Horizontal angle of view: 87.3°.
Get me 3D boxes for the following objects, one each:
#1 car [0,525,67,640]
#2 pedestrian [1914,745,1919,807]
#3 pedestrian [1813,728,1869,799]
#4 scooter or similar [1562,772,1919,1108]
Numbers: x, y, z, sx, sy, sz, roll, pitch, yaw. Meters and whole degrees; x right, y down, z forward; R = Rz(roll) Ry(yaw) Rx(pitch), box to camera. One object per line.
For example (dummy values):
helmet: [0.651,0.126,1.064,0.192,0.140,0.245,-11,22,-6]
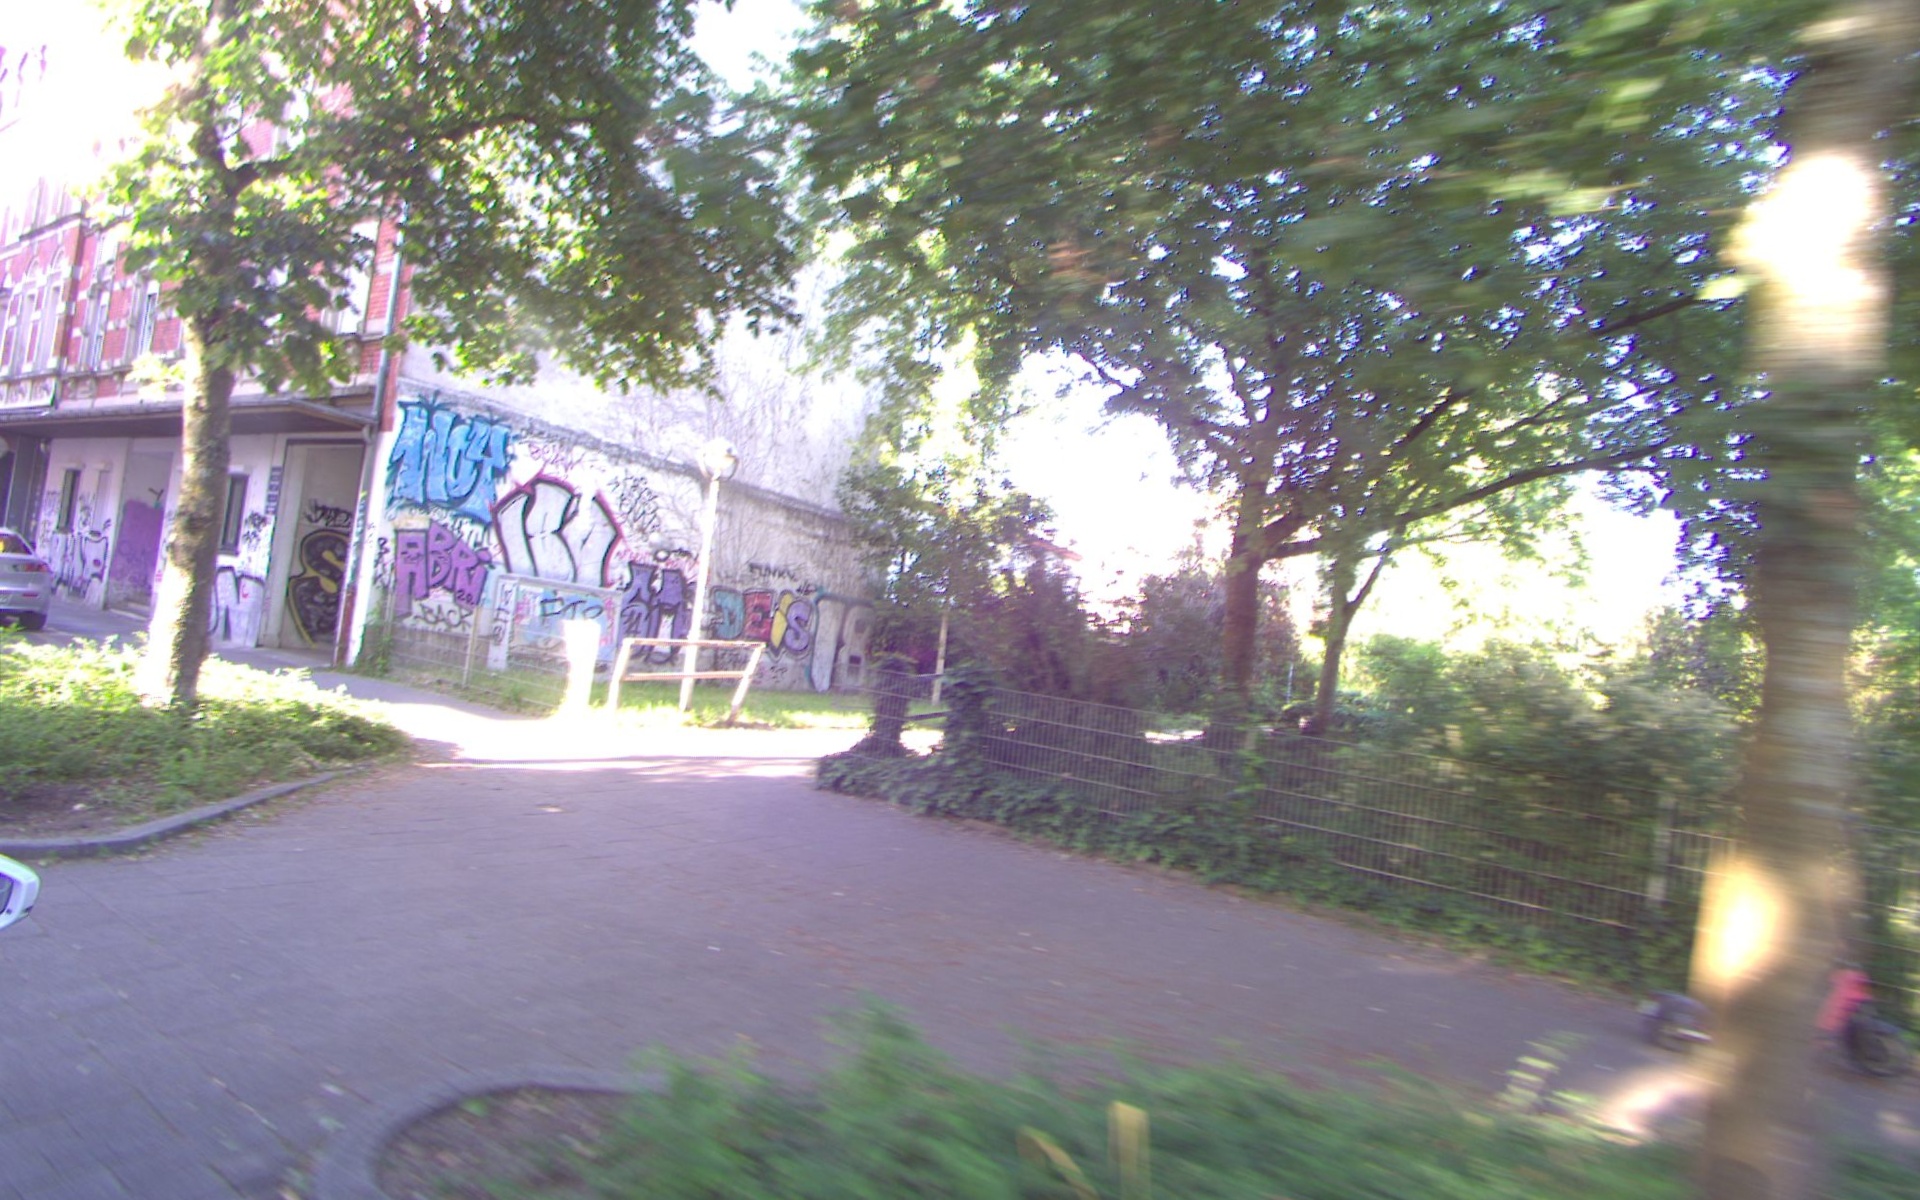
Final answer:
car: [-15.476,-0.457,15.224,4.327,1.579,1.724,5,-3,33]
pedestrian: [29.624,5.313,30.290,0.737,2.037,0.911,7,-1,-9]
pedestrian: [27.469,5.089,31.391,0.737,2.037,0.911,7,-1,-9]
scooter or similar: [3.829,1.584,4.805,1.445,1.277,0.546,6,-1,3]
